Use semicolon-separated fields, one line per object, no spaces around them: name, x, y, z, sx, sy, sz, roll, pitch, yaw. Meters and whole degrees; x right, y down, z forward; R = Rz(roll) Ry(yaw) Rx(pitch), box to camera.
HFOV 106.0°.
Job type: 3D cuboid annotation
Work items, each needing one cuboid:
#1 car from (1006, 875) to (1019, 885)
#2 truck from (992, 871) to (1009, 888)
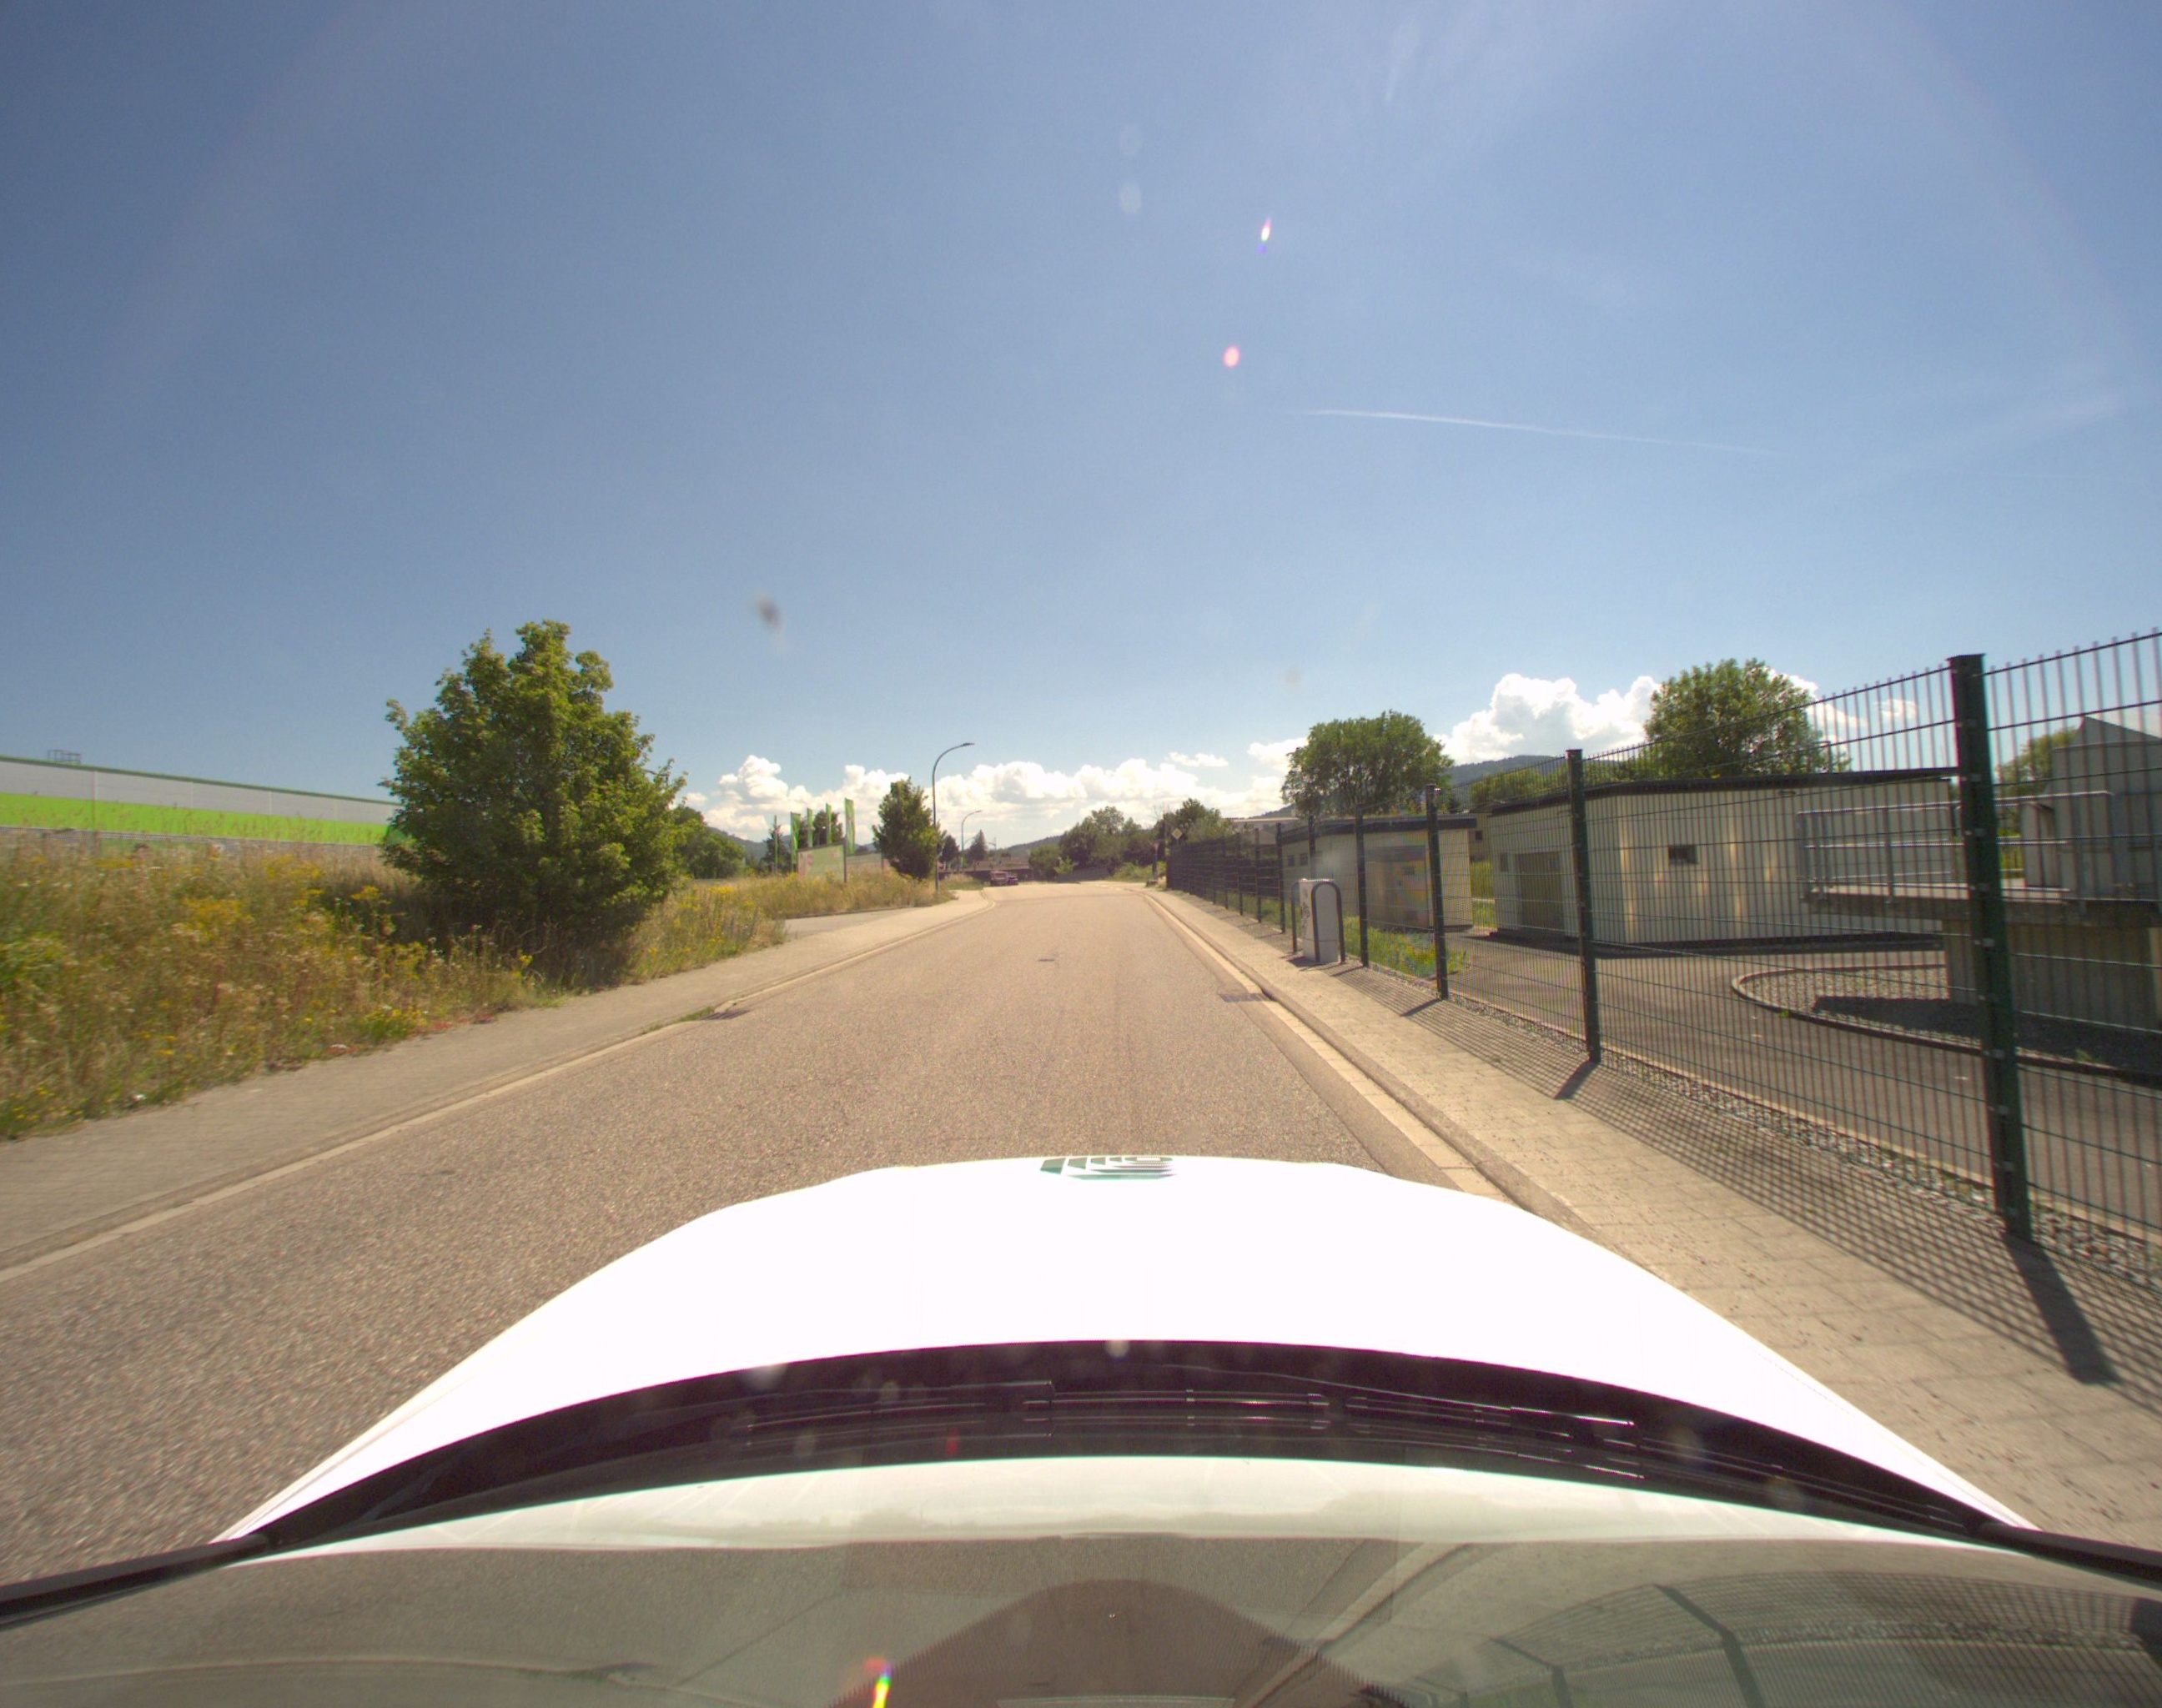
car;-10.283;3.863;121.961;1.775;1.448;3.441;-1;-1;-8
truck;-14.295;4.498;143.877;2.682;2.772;6.071;-1;-1;-9
